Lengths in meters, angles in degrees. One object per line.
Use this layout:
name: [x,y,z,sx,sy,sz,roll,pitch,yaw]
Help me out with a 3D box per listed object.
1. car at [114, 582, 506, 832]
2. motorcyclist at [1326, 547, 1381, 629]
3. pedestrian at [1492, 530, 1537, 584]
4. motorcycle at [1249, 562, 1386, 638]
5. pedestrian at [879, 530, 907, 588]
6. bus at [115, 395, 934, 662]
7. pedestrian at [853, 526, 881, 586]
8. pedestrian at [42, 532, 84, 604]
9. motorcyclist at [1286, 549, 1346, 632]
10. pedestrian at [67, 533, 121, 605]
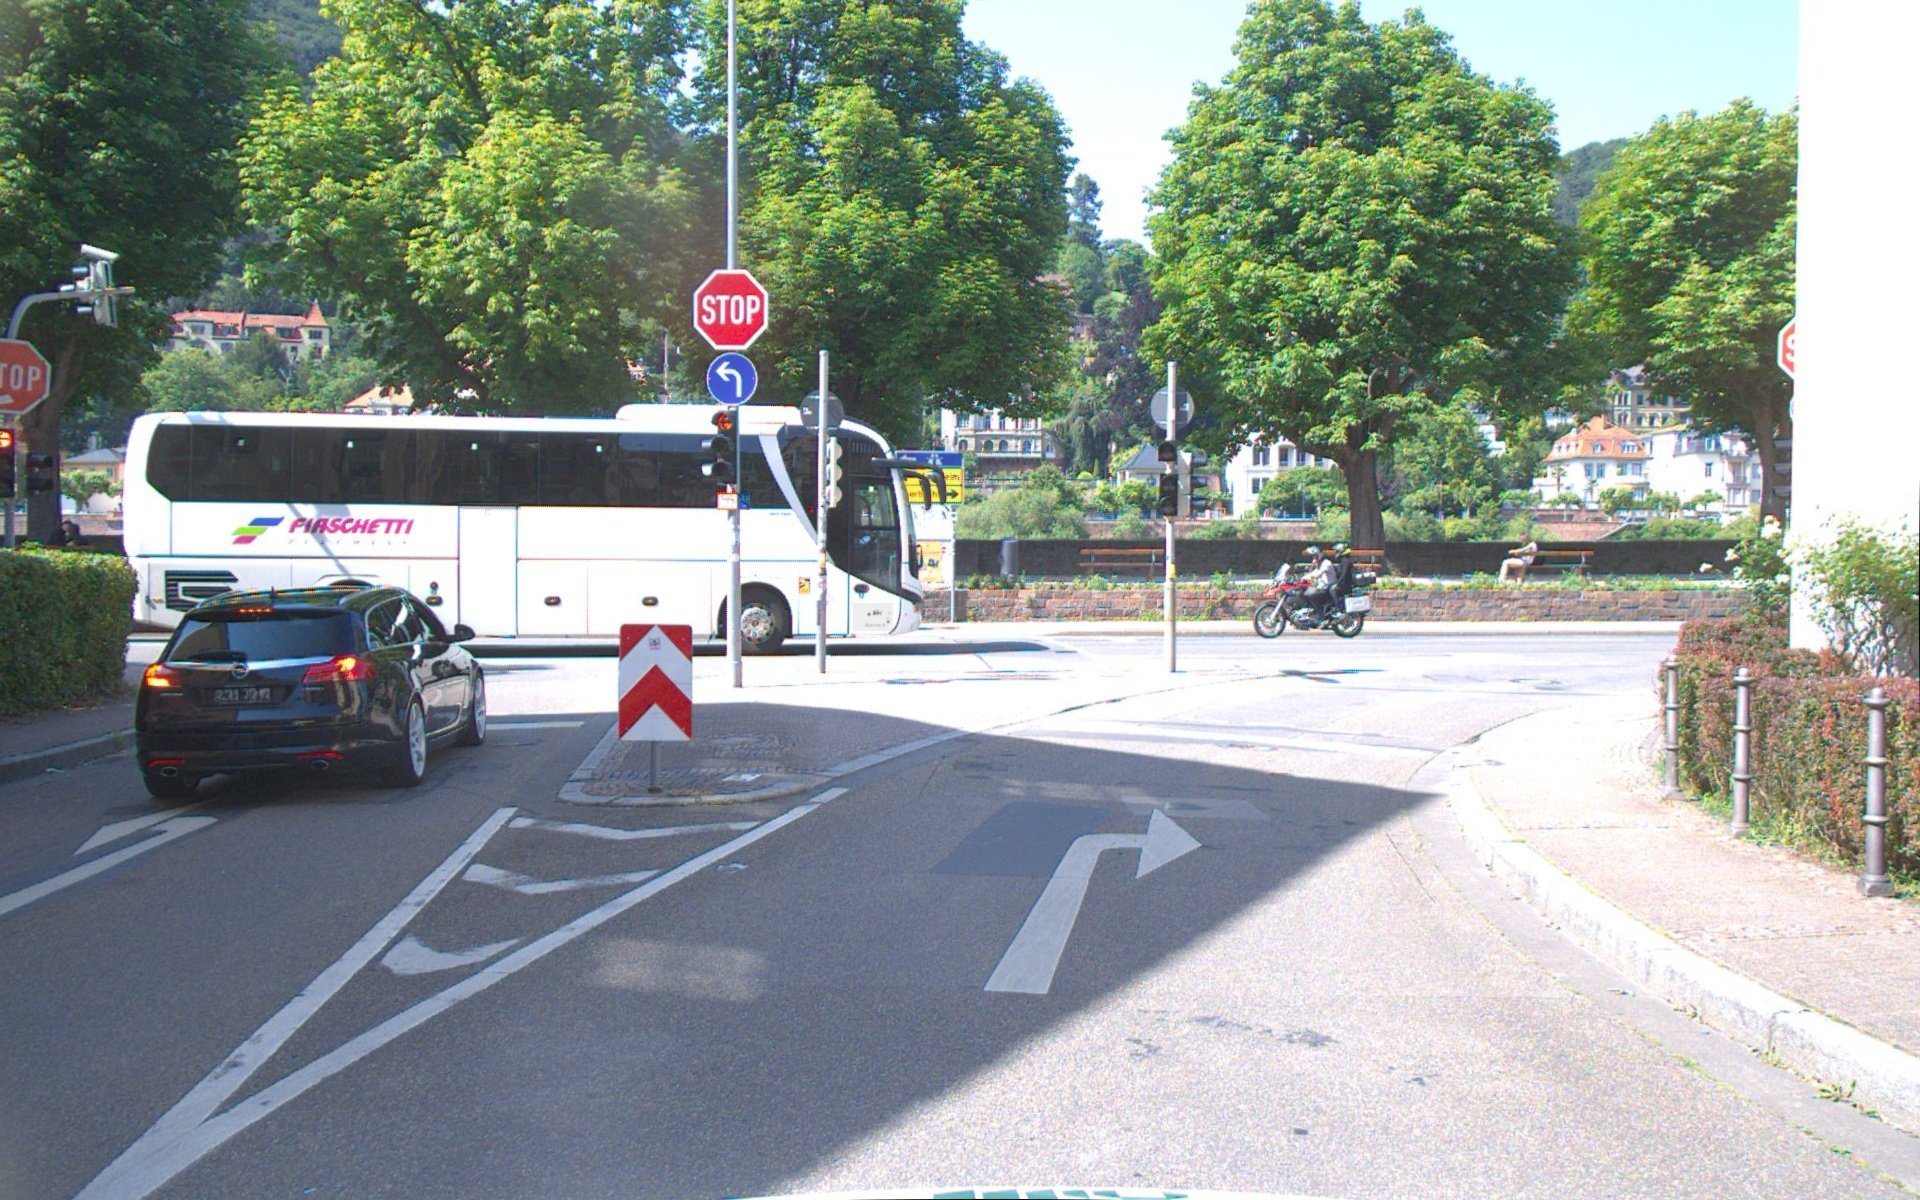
car: [-4.838,0.662,13.063,1.681,1.487,4.718,-2,1,-7]
motorcyclist: [7.434,-0.228,31.254,0.756,1.519,0.817,0,1,-9]
pedestrian: [13.263,-1.021,39.555,0.782,1.232,0.715,2,-2,-3]
motorcycle: [6.729,-0.009,31.132,2.418,1.400,0.762,0,1,-9]
pedestrian: [-1.536,-0.935,37.804,0.542,1.250,0.984,2,-2,-6]
bus: [-6.482,-1.056,26.162,11.913,3.854,2.902,0,1,-8]
pedestrian: [-2.111,-1.001,37.474,0.542,1.302,0.703,2,-2,-6]
pedestrian: [-19.130,-0.688,35.278,0.458,1.519,0.804,0,1,-2]
motorcyclist: [6.688,-0.181,31.100,0.855,1.520,0.817,-1,1,-9]
pedestrian: [-18.609,-0.672,35.565,0.457,1.505,1.384,0,1,-2]
